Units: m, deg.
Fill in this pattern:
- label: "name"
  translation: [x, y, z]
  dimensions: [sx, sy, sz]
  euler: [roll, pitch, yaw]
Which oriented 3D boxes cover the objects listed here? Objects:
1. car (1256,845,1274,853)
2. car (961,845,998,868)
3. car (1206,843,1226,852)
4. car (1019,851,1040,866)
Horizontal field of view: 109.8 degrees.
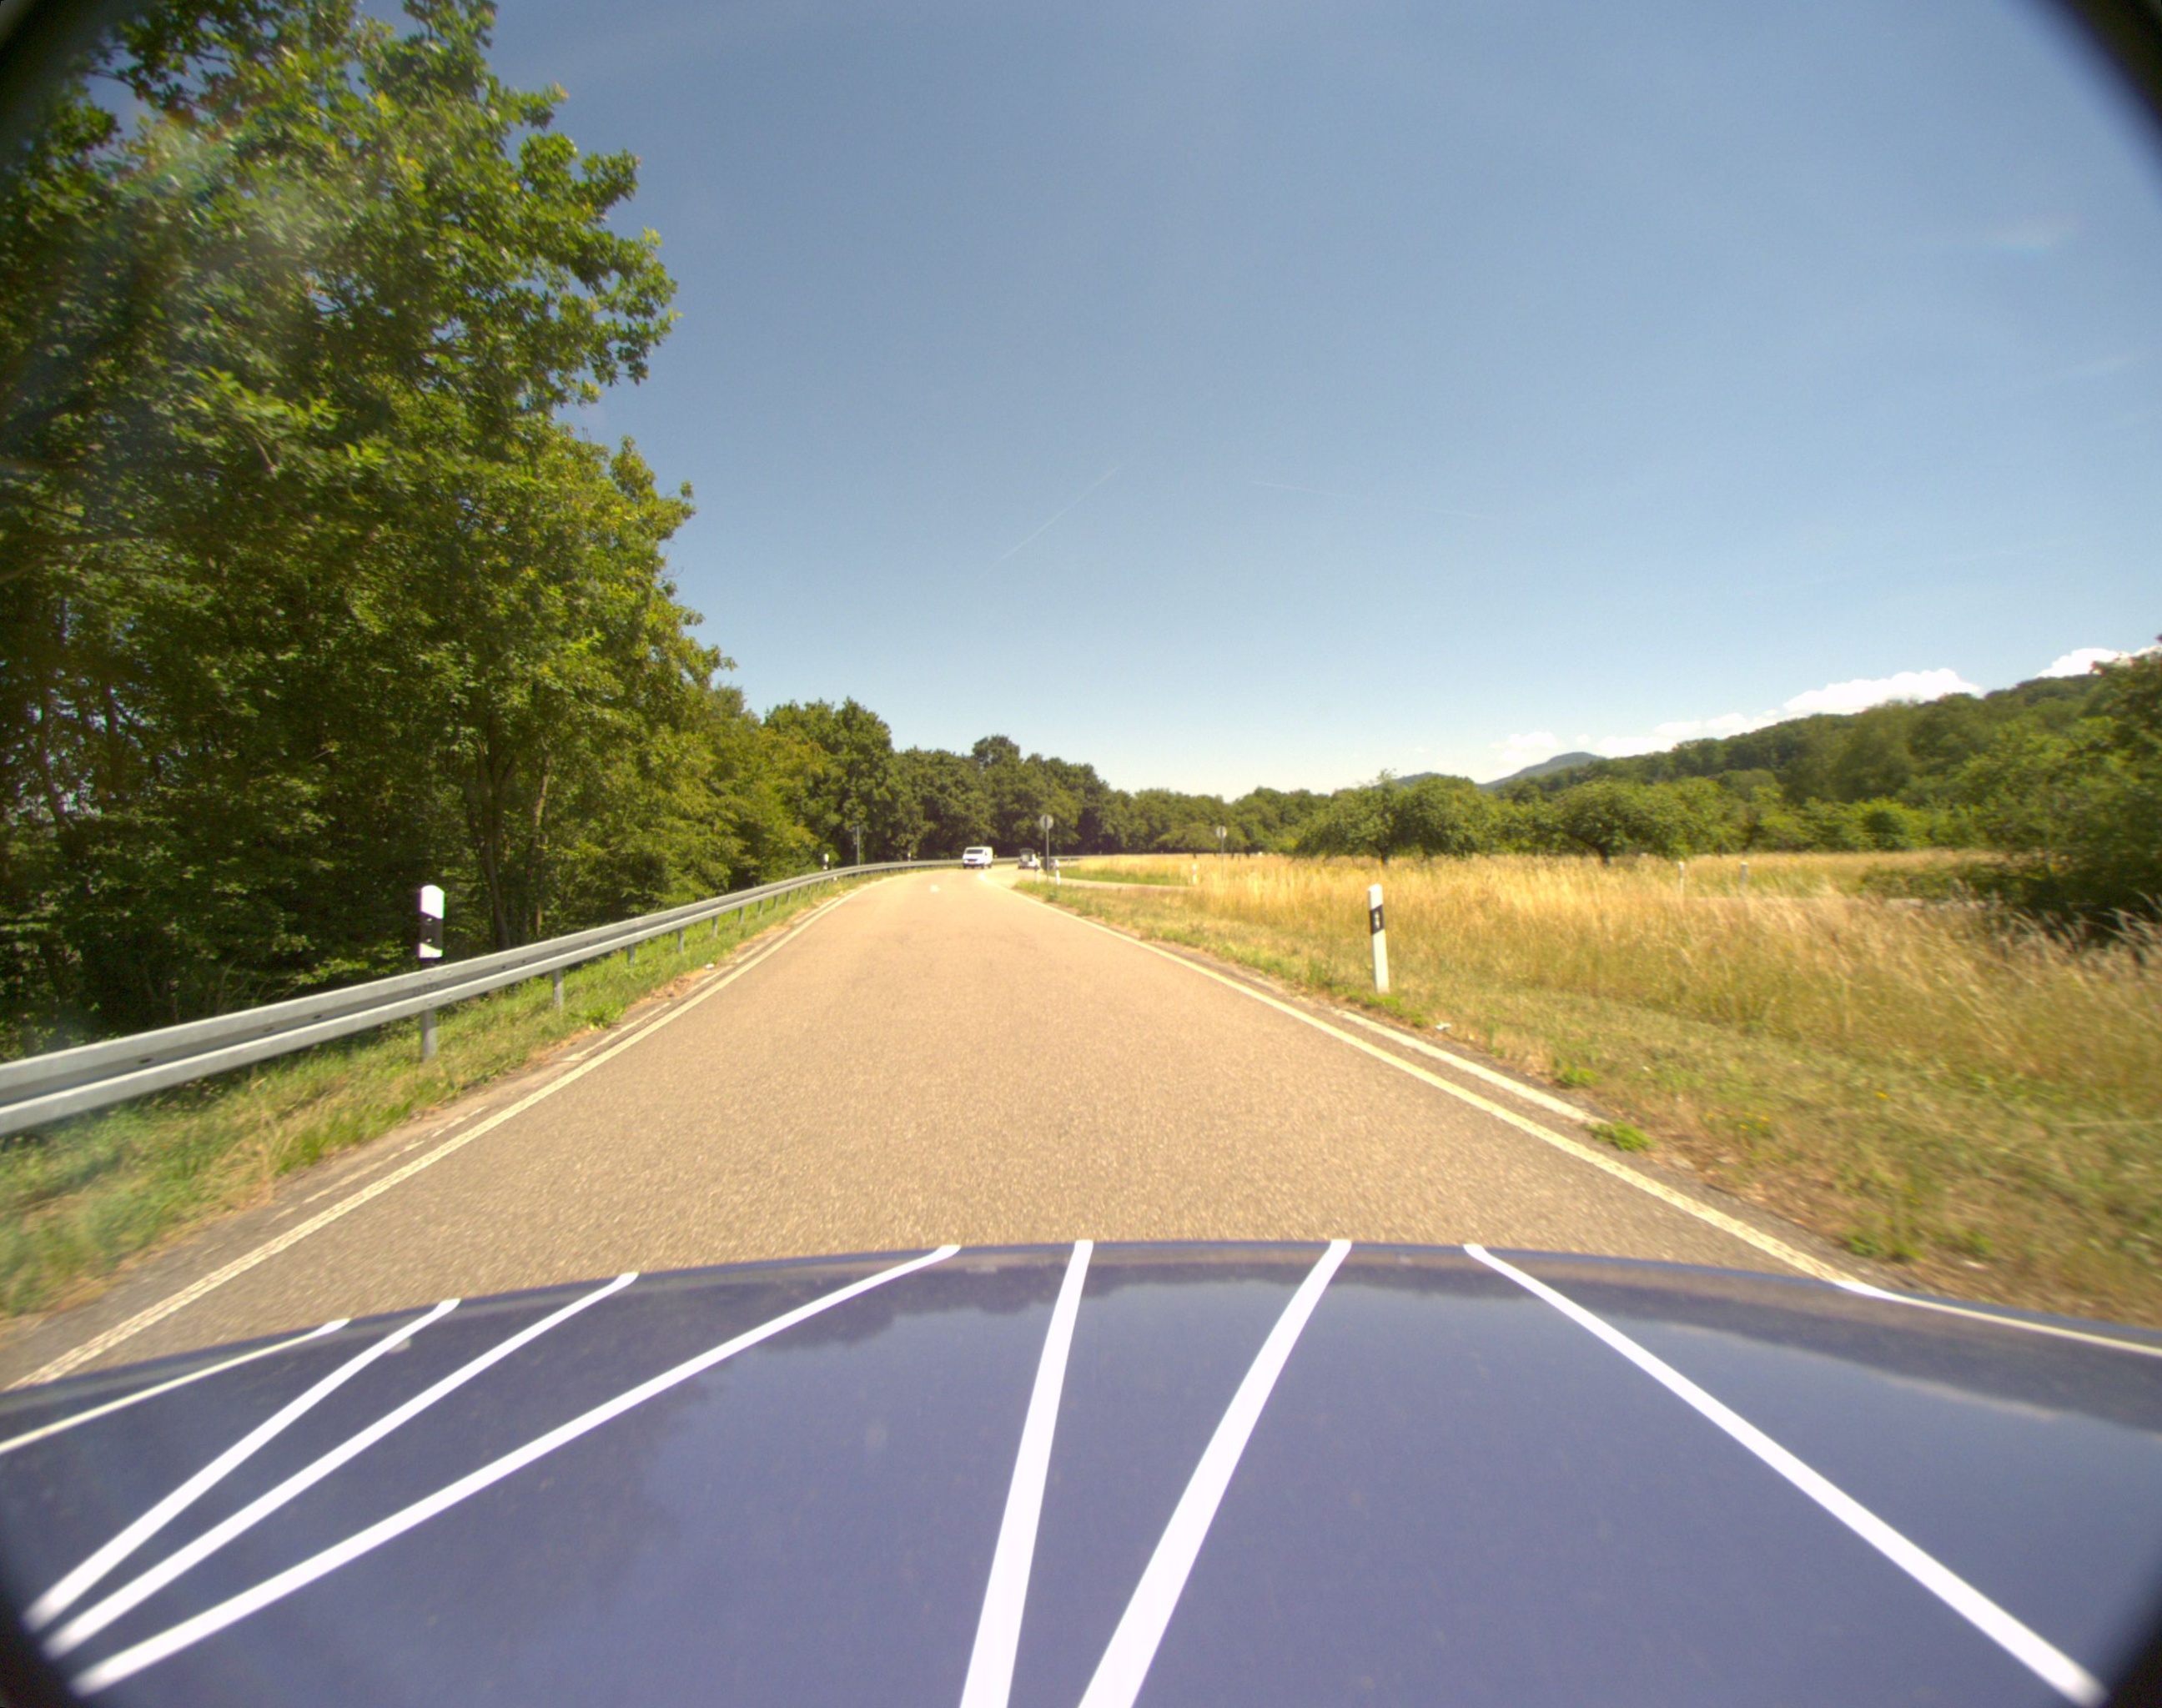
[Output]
- label: "car"
  translation: [39.771, -1.053, 163.960]
  dimensions: [1.822, 1.450, 4.409]
  euler: [6, 5, 41]
- label: "car"
  translation: [-9.342, 0.213, 70.402]
  dimensions: [2.224, 2.021, 5.428]
  euler: [-1, 0, 4]
- label: "car"
  translation: [25.179, -1.276, 141.403]
  dimensions: [1.822, 1.498, 4.182]
  euler: [3, 1, 38]
- label: "car"
  translation: [-4.908, 0.437, 72.779]
  dimensions: [1.851, 1.415, 4.147]
  euler: [1, -1, -3]
